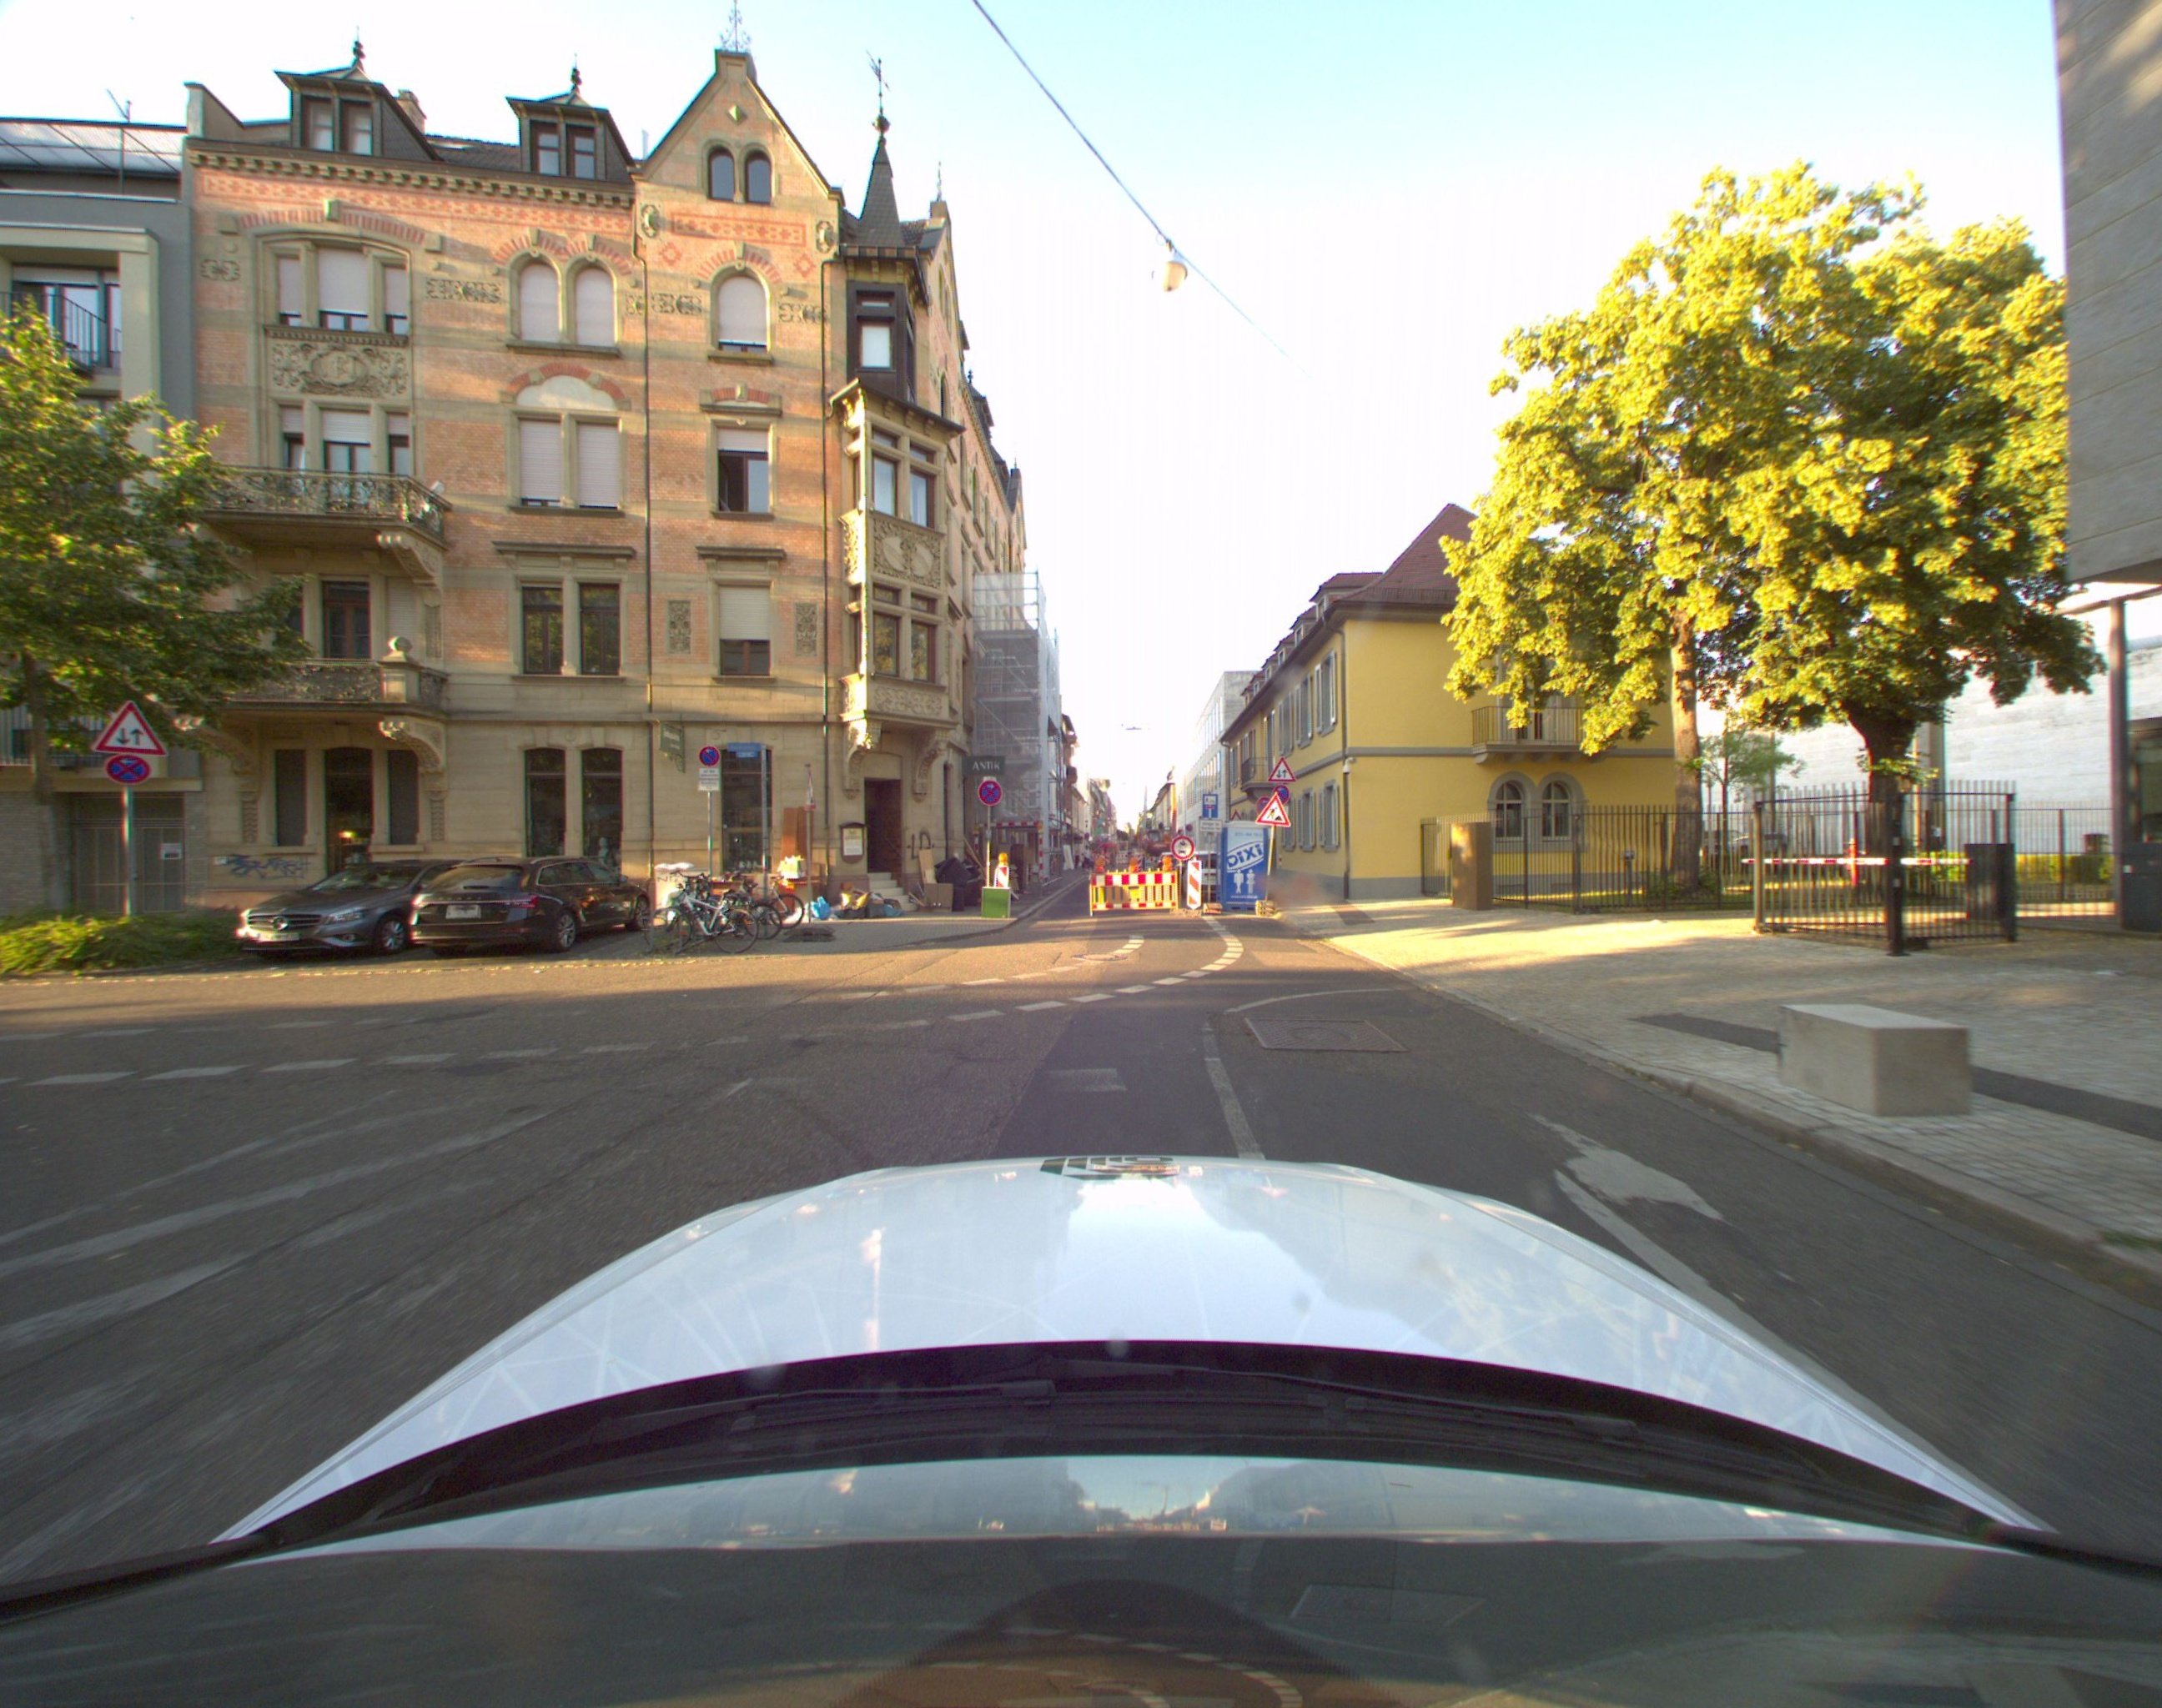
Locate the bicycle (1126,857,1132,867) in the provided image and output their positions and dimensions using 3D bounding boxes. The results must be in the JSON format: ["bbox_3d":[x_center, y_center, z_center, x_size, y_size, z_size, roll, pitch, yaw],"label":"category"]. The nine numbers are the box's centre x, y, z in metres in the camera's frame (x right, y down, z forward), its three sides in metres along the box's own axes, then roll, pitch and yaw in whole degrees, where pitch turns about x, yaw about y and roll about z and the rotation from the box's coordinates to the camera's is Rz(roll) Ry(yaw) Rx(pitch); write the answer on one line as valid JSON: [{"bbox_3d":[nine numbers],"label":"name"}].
[{"bbox_3d":[4.603,0.771,78.173,0.502,0.884,1.478,-1,0,3],"label":"bicycle"}]

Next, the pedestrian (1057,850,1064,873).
[{"bbox_3d":[-1.420,0.527,56.881,0.339,1.566,0.423,-1,-1,25],"label":"pedestrian"}]

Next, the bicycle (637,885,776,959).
[{"bbox_3d":[-5.719,1.033,12.510,1.823,1.047,0.570,-1,0,-5],"label":"bicycle"}]

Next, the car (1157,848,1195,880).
[{"bbox_3d":[4.759,0.460,41.181,1.710,1.520,3.225,-1,0,4],"label":"car"}]

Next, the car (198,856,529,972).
[{"bbox_3d":[-11.603,0.843,13.721,1.860,1.479,4.531,-1,1,-7],"label":"car"}]

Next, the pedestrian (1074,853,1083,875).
[{"bbox_3d":[-0.221,0.768,63.957,0.674,1.733,0.700,0,-1,0],"label":"pedestrian"}]

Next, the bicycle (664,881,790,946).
[{"bbox_3d":[-5.941,0.988,13.761,1.825,1.013,0.638,-1,0,-8],"label":"bicycle"}]

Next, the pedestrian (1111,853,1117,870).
[{"bbox_3d":[2.988,0.665,73.156,0.502,1.461,0.513,-1,0,3],"label":"pedestrian"}]

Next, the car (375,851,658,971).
[{"bbox_3d":[-9.027,0.778,13.613,1.903,1.511,4.532,-1,2,-7],"label":"car"}]

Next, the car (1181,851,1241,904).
[{"bbox_3d":[3.891,0.662,24.758,1.533,1.520,3.224,0,0,4],"label":"car"}]

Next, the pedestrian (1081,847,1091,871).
[{"bbox_3d":[0.366,0.361,58.642,0.508,1.764,0.506,-1,0,-38],"label":"pedestrian"}]

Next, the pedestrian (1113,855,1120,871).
[{"bbox_3d":[3.303,0.873,76.059,0.501,1.461,0.514,-1,0,9],"label":"pedestrian"}]

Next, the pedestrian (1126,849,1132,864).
[{"bbox_3d":[4.587,0.247,78.053,0.502,1.461,0.513,-1,0,4],"label":"pedestrian"}]

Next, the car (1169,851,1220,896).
[{"bbox_3d":[4.067,0.657,29.651,1.533,1.520,3.983,-1,0,4],"label":"car"}]

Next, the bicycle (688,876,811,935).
[{"bbox_3d":[-6.302,0.964,15.544,2.102,1.040,0.464,-1,0,-8],"label":"bicycle"}]

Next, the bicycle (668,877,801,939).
[{"bbox_3d":[-6.241,0.957,14.765,2.102,1.013,0.638,-1,0,-8],"label":"bicycle"}]
